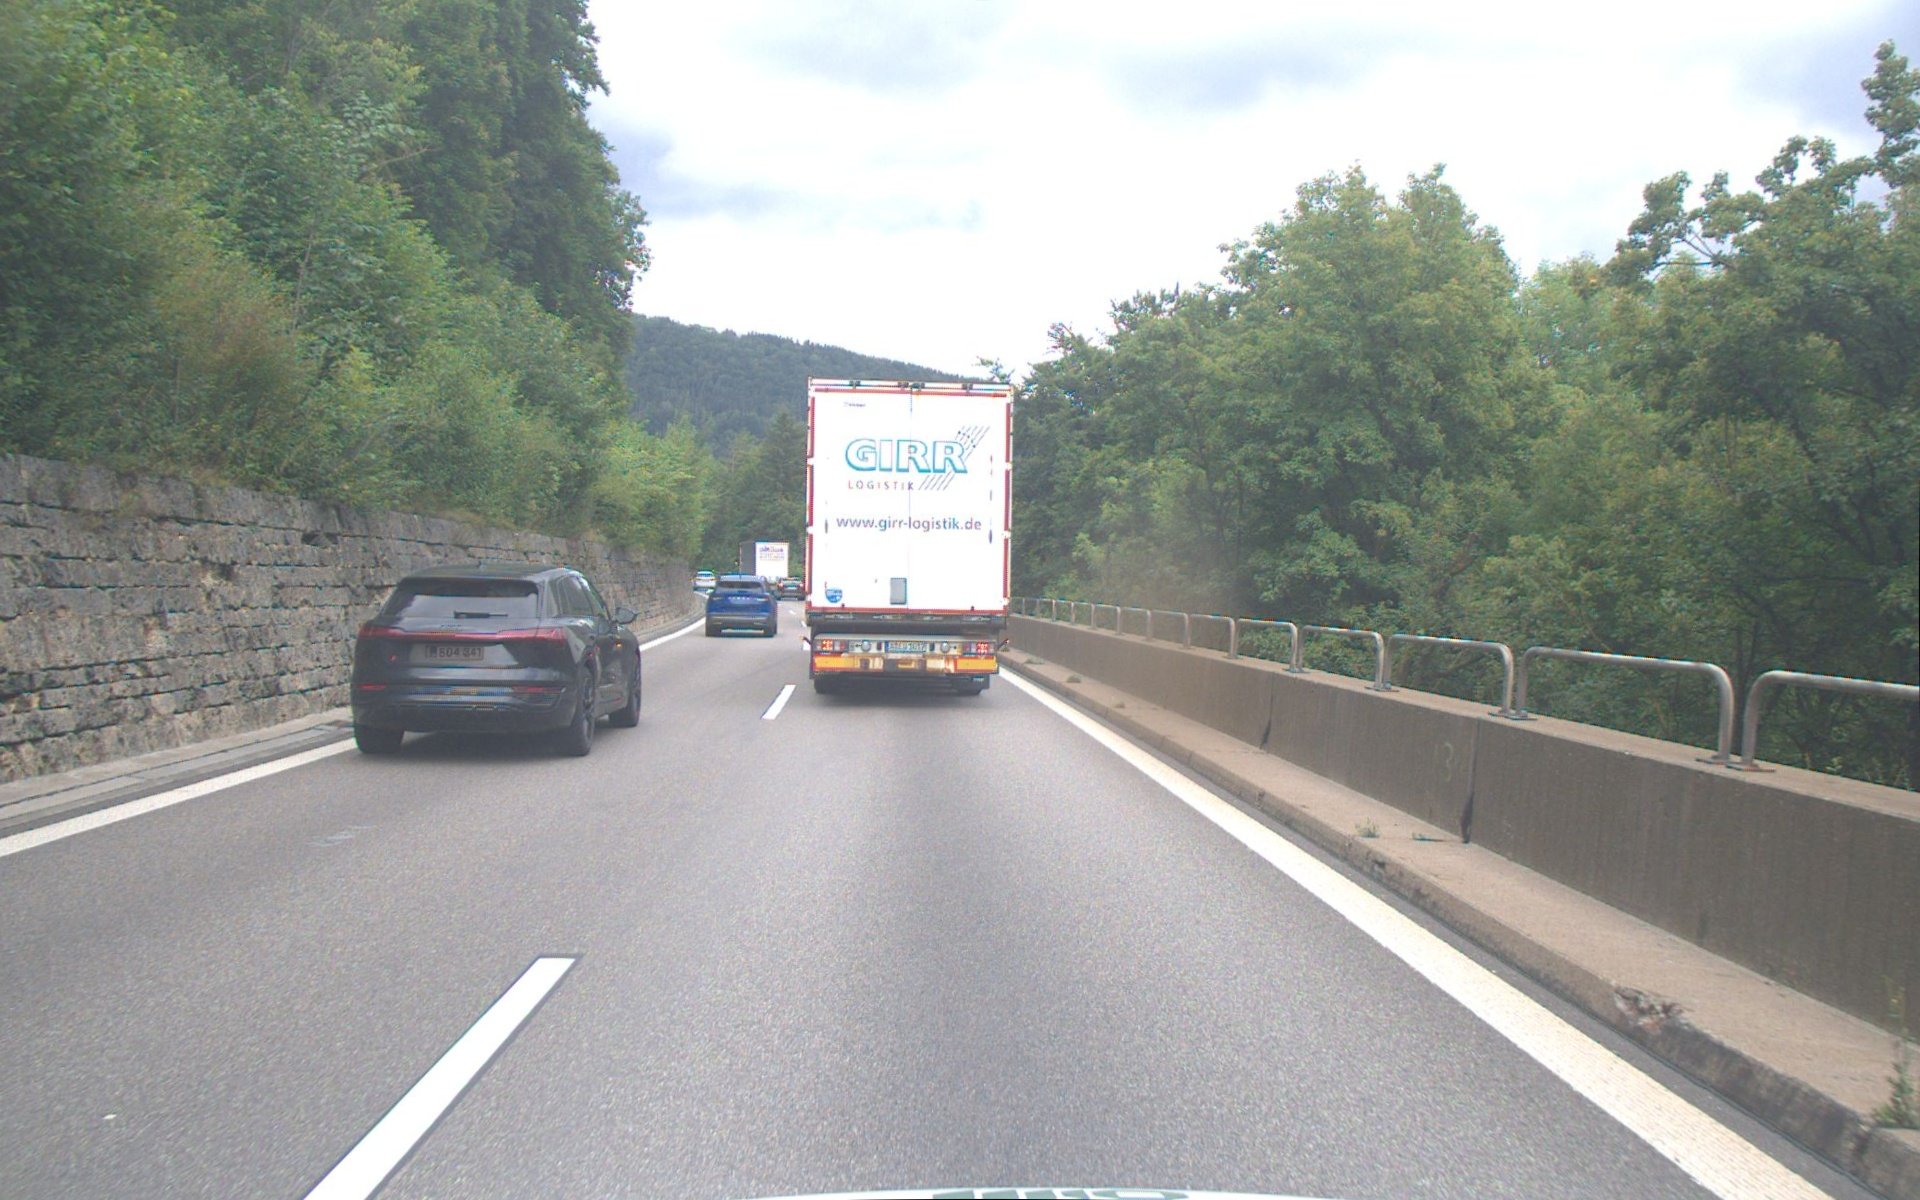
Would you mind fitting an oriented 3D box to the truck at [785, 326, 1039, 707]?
[{"bbox_3d":[-1.041,-1.060,27.398,3.023,4.542,15.144,0,0,-4],"label":"truck"}]

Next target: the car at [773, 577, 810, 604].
[{"bbox_3d":[-10.749,-0.636,105.504,2.023,1.683,3.990,0,0,-10],"label":"car"}]

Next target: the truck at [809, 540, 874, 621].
[{"bbox_3d":[-4.569,-0.720,63.043,2.167,2.901,4.996,2,0,-7],"label":"truck"}]

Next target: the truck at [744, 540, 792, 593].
[{"bbox_3d":[-14.900,-2.517,127.573,2.588,3.925,12.322,0,0,-12],"label":"truck"}]

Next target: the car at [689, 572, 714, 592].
[{"bbox_3d":[-21.913,-1.533,140.074,1.863,1.577,4.239,2,1,-11],"label":"car"}]

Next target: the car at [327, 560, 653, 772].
[{"bbox_3d":[-4.155,0.494,15.524,1.954,1.660,5.004,0,1,-4],"label":"car"}]

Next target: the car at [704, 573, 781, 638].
[{"bbox_3d":[-5.867,0.135,45.106,1.955,1.660,5.001,0,0,-6],"label":"car"}]

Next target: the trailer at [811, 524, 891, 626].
[{"bbox_3d":[-3.891,-0.816,57.112,2.169,3.101,11.123,2,0,-6],"label":"trailer"}]
